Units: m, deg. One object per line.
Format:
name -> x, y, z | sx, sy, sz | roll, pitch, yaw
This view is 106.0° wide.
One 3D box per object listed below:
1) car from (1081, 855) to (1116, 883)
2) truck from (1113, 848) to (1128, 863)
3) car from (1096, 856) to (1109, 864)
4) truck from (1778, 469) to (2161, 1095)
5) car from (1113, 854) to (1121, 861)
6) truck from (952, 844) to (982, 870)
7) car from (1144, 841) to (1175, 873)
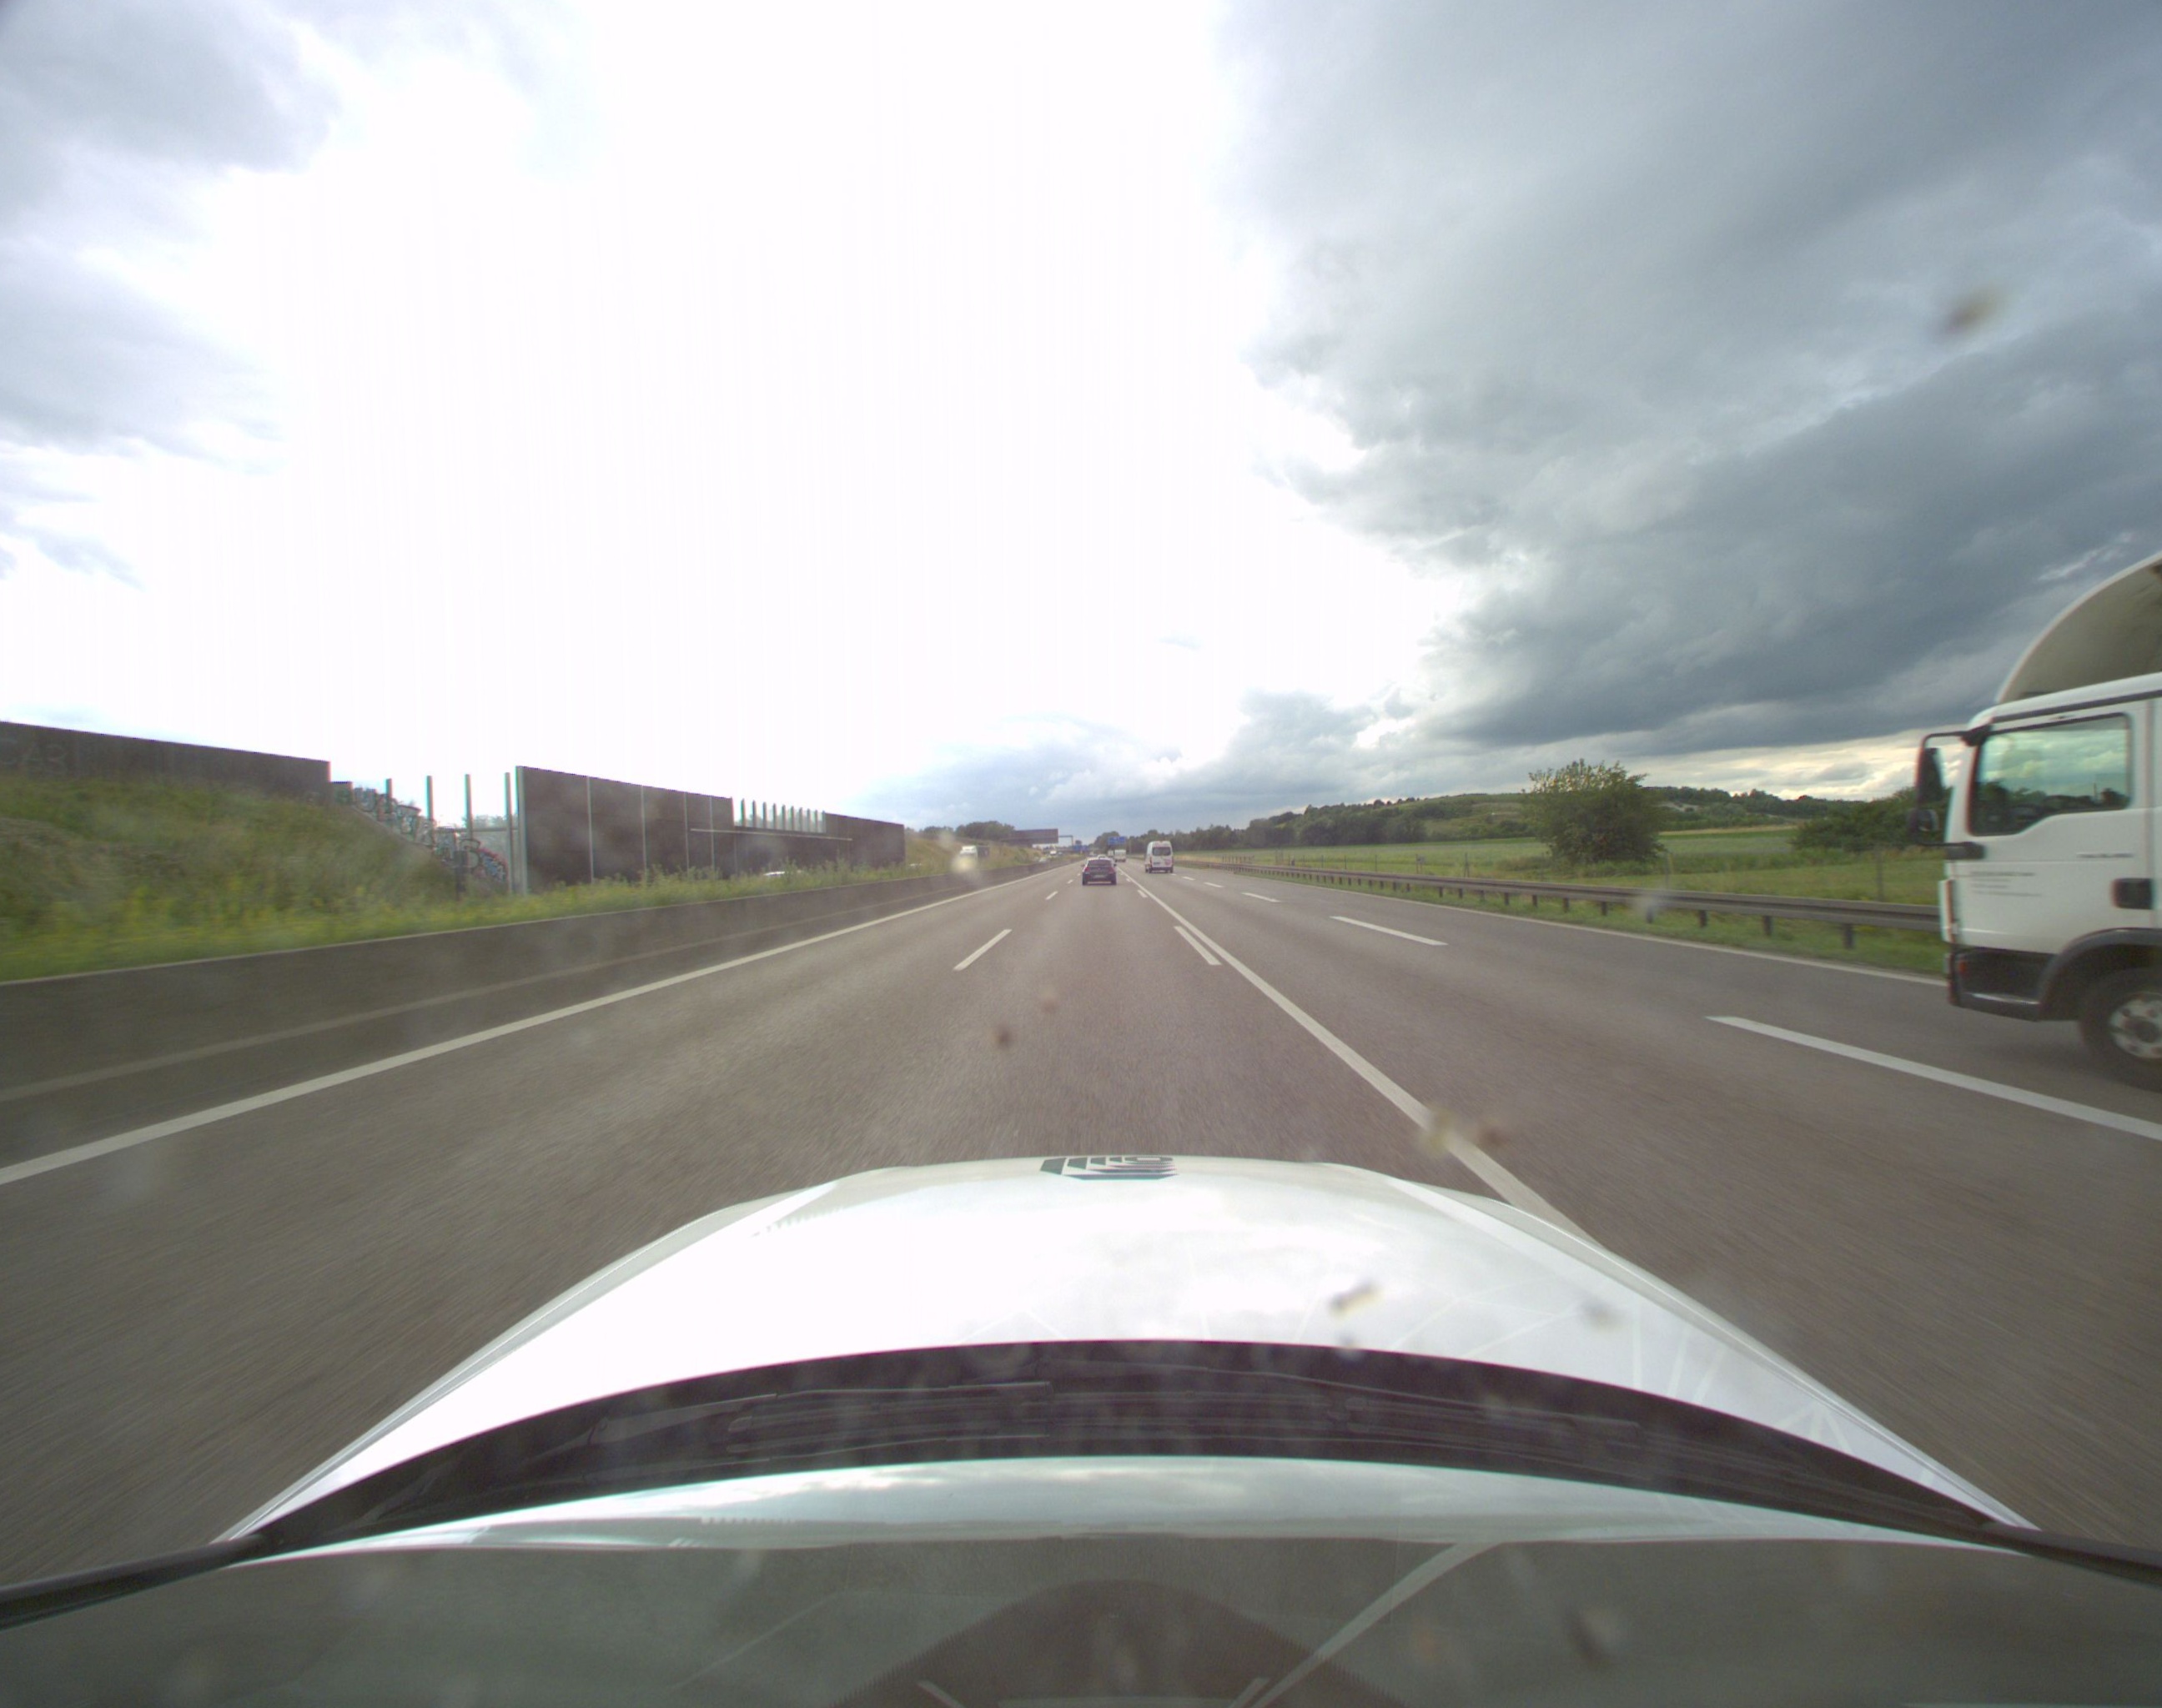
car -> 0.940, 0.747, 43.398 | 1.737, 1.389, 4.001 | -1, 0, 1
truck -> 8.281, 0.355, 171.450 | 2.700, 2.964, 12.449 | 0, 0, 1
car -> 3.454, 0.934, 129.845 | 1.987, 1.298, 4.000 | -3, 0, 1
truck -> 7.518, -0.407, 2.565 | 3.094, 3.470, 8.890 | 0, 0, 0
car -> 10.136, 0.993, 229.757 | 1.986, 2.013, 4.001 | -1, 0, 1
truck -> -17.930, 0.511, 128.232 | 3.654, 3.948, 6.015 | 0, 0, 2
car -> 6.693, 0.279, 69.948 | 2.213, 2.568, 6.258 | -1, 0, 1
